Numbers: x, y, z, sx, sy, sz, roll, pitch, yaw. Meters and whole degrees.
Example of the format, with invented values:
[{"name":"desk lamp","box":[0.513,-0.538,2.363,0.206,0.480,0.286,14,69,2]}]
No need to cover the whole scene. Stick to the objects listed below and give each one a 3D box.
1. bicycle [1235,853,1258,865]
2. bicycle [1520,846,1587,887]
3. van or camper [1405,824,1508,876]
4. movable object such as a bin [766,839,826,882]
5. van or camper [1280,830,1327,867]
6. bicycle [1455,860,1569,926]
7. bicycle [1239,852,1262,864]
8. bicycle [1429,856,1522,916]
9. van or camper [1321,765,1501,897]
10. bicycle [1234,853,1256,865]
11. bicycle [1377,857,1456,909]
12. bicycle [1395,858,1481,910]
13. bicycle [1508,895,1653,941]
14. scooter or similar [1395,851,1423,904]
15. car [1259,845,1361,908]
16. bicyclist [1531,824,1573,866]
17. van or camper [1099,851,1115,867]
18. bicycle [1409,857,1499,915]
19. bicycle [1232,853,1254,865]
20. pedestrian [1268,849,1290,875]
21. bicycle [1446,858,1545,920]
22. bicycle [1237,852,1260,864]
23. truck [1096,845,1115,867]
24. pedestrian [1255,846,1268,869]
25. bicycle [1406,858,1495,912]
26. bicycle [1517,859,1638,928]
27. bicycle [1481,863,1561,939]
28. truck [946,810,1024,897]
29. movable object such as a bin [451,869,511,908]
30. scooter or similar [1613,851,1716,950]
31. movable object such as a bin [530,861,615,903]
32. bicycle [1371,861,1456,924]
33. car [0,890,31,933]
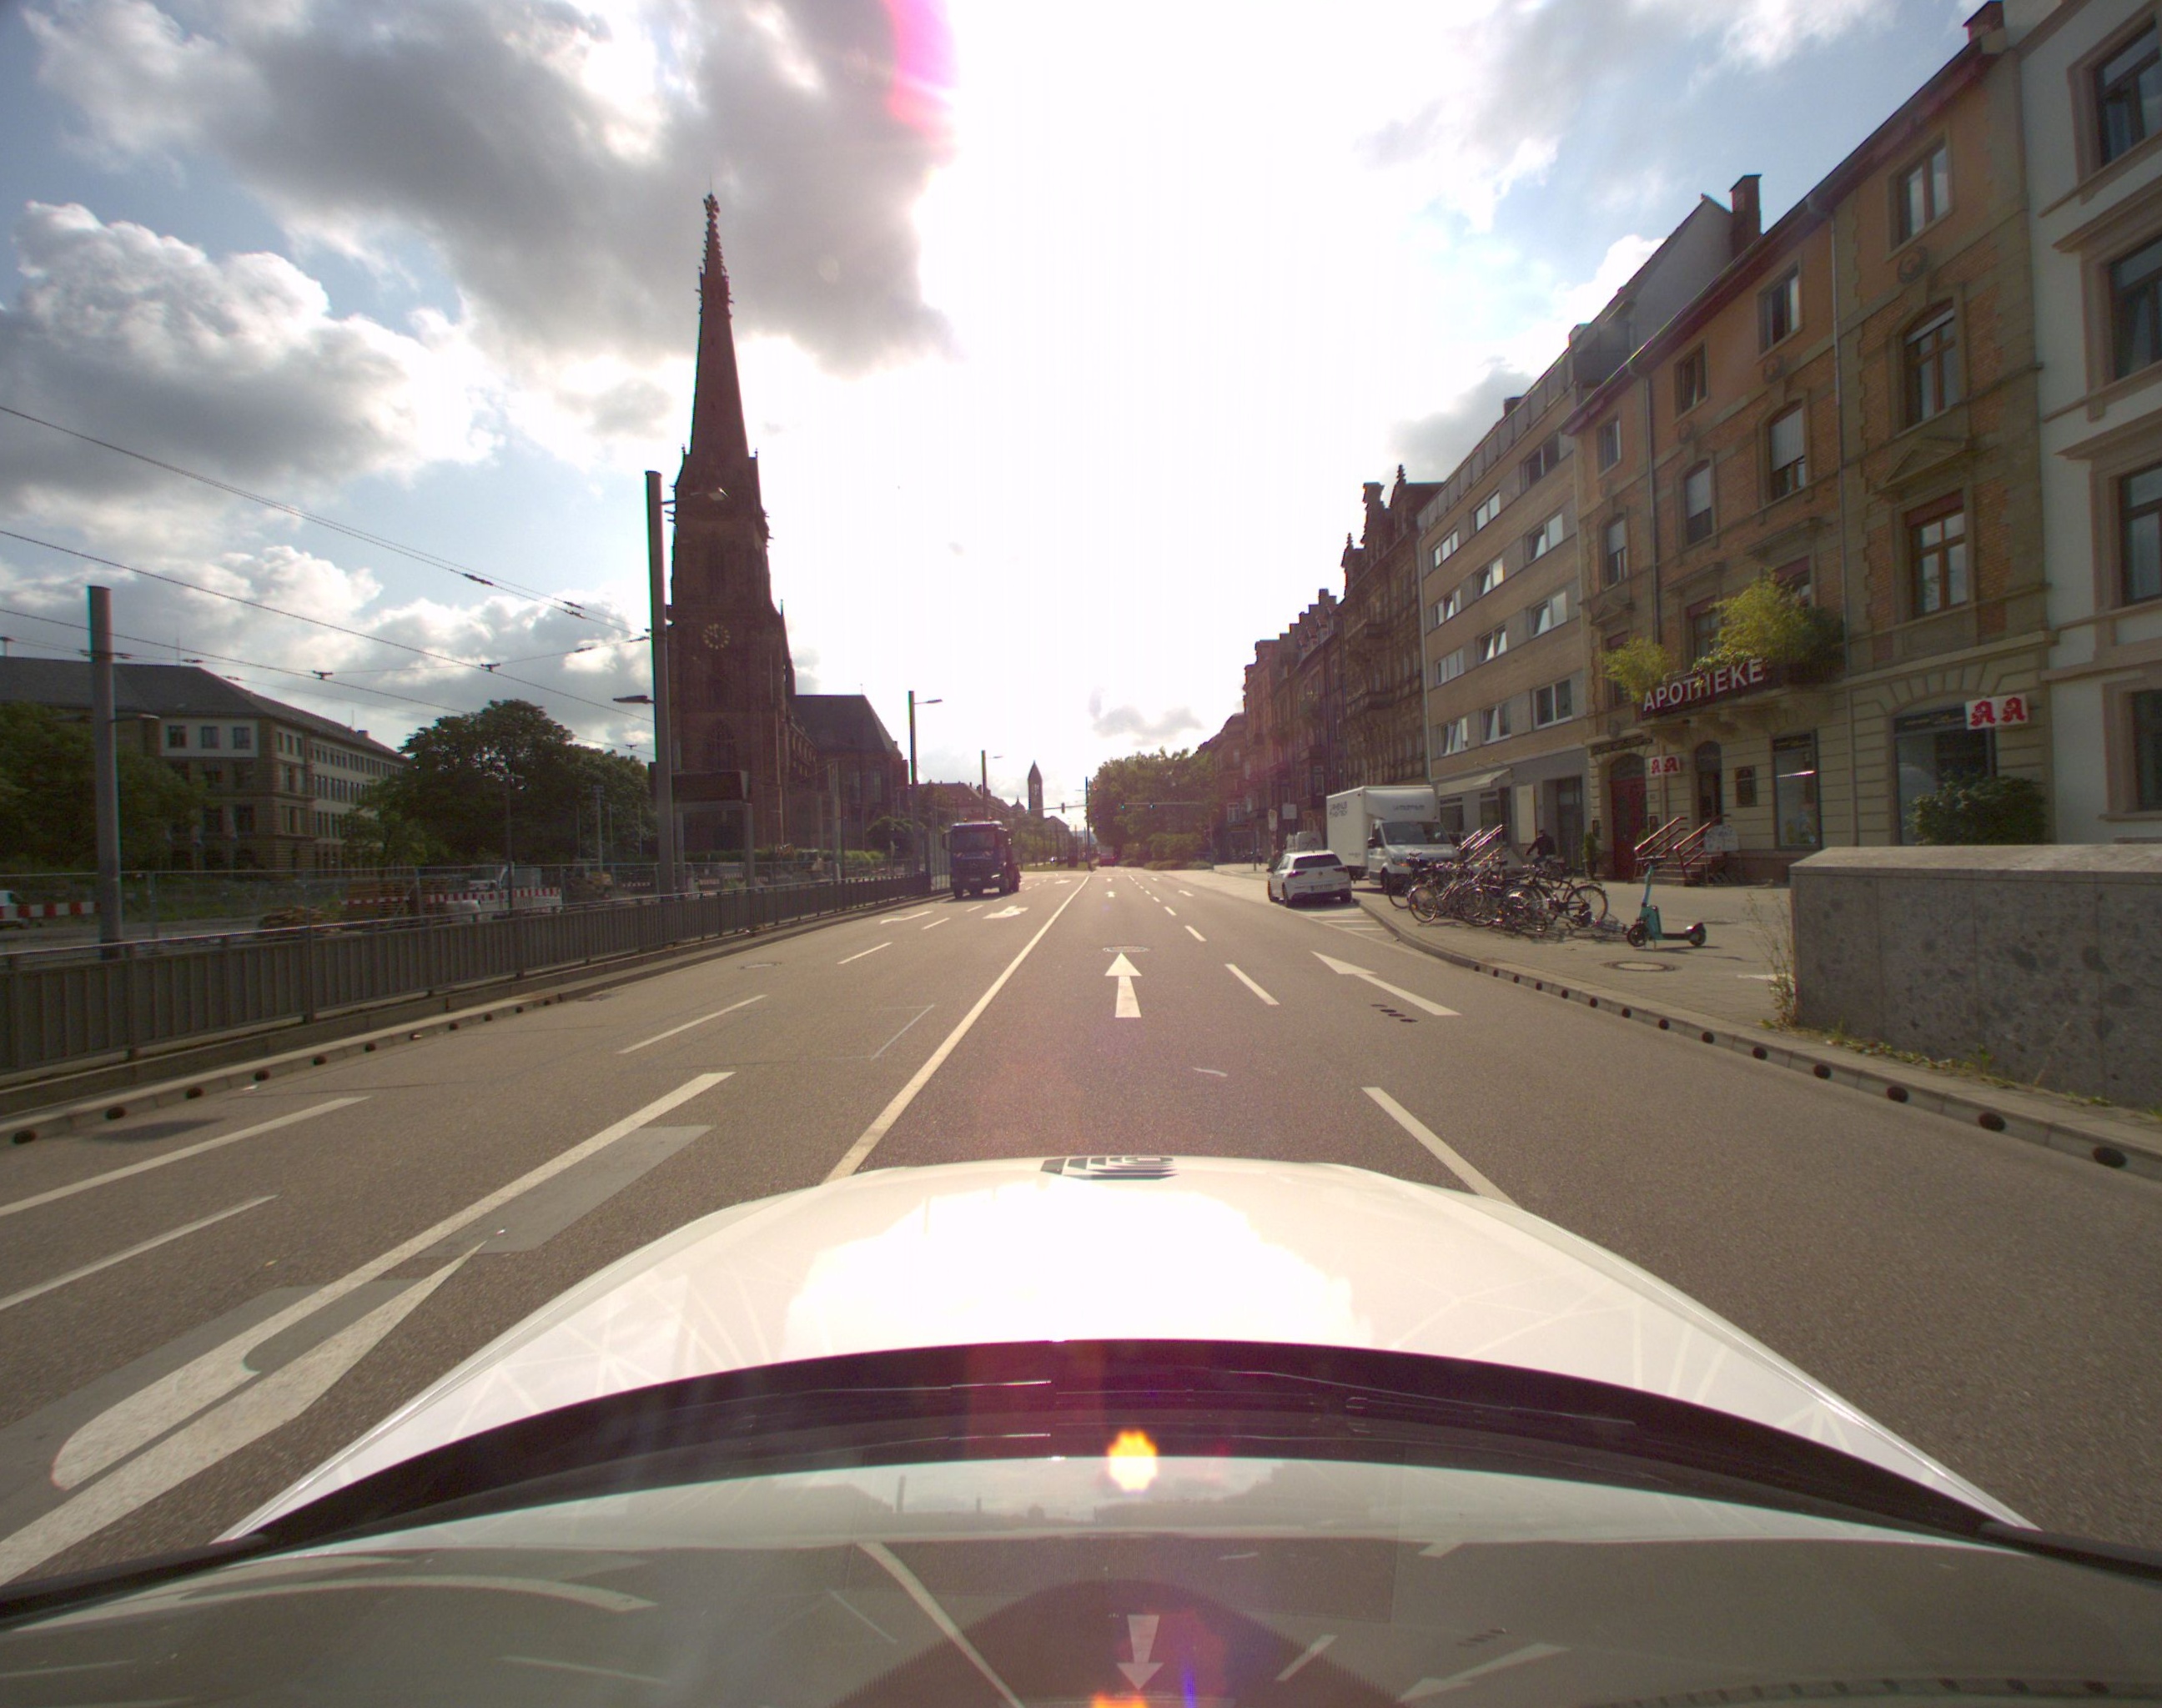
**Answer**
[{"name":"bicycle","box":[17.339,0.485,85.196,2.185,1.181,0.683,-2,0,-3]},{"name":"bicycle","box":[13.406,0.376,23.187,0.701,1.048,2.210,0,-4,4]},{"name":"van or camper","box":[15.969,-0.175,35.000,1.986,1.904,5.300,-5,0,2]},{"name":"movable object such as a bin","box":[-26.283,0.554,75.358,2.650,3.730,5.608,-2,0,9]},{"name":"van or camper","box":[16.298,-0.388,59.973,1.986,2.474,5.567,-2,0,2]},{"name":"bicycle","box":[7.533,0.680,14.257,1.750,1.085,0.373,-1,1,3]},{"name":"bicycle","box":[17.468,0.393,83.780,2.185,1.181,0.683,-2,0,-3]},{"name":"bicycle","box":[7.769,0.616,16.037,1.759,1.085,0.371,-2,1,-11]},{"name":"van or camper","box":[9.808,-0.595,25.259,2.701,3.330,7.646,-3,0,3]},{"name":"bicycle","box":[17.294,0.531,85.903,2.185,1.181,0.683,-2,0,-3]},{"name":"bicycle","box":[7.541,0.641,18.273,1.761,1.085,0.370,-2,1,-15]},{"name":"bicycle","box":[7.795,0.648,17.798,1.755,1.085,0.372,-2,1,-5]},{"name":"bicycle","box":[7.569,0.952,12.416,0.641,0.586,1.750,-3,0,-38]},{"name":"scooter or similar","box":[7.799,0.545,19.403,0.366,1.213,1.255,0,0,11]},{"name":"car","box":[6.334,0.604,23.062,1.783,1.437,4.347,-6,-1,3]},{"name":"bicyclist","box":[13.406,-0.243,23.204,0.705,1.148,0.814,0,-4,4]},{"name":"van or camper","box":[3.613,0.714,113.497,2.004,1.915,4.517,0,-4,-2]},{"name":"bicycle","box":[7.526,0.643,16.429,1.759,1.085,0.371,-2,1,-11]},{"name":"bicycle","box":[17.238,0.579,86.641,2.185,1.181,0.683,-2,0,-3]},{"name":"pedestrian","box":[10.153,0.398,41.839,0.748,1.316,0.812,0,-1,-37]},{"name":"bicycle","box":[7.762,0.644,15.247,1.757,1.085,0.371,-2,1,-8]},{"name":"bicycle","box":[17.422,0.443,84.546,2.185,1.181,0.683,-2,0,-3]},{"name":"truck","box":[4.324,0.394,144.115,3.157,3.287,7.299,-1,-4,3]},{"name":"pedestrian","box":[16.190,0.313,73.048,0.882,2.014,0.996,0,-1,2]},{"name":"bicycle","box":[7.822,0.646,17.246,1.755,1.085,0.372,-2,1,-5]},{"name":"bicycle","box":[8.278,0.650,13.598,1.750,1.085,0.373,-1,1,3]},{"name":"bicycle","box":[7.077,0.723,13.178,0.370,1.071,1.765,-1,1,1]},{"name":"truck","box":[-4.393,-0.006,38.793,2.453,3.648,7.453,-2,0,2]},{"name":"movable object such as a bin","box":[-37.461,2.124,50.968,2.002,2.206,4.239,-2,0,-23]},{"name":"scooter or similar","box":[7.898,0.607,11.030,1.162,1.238,0.381,-4,0,-10]},{"name":"movable object such as a bin","box":[-37.314,2.053,59.859,4.885,2.801,2.001,-2,0,2]},{"name":"bicycle","box":[6.238,0.701,15.282,1.600,1.085,0.370,-2,1,-18]},{"name":"car","box":[-52.079,2.737,38.293,2.007,2.014,3.959,0,-3,-31]}]
